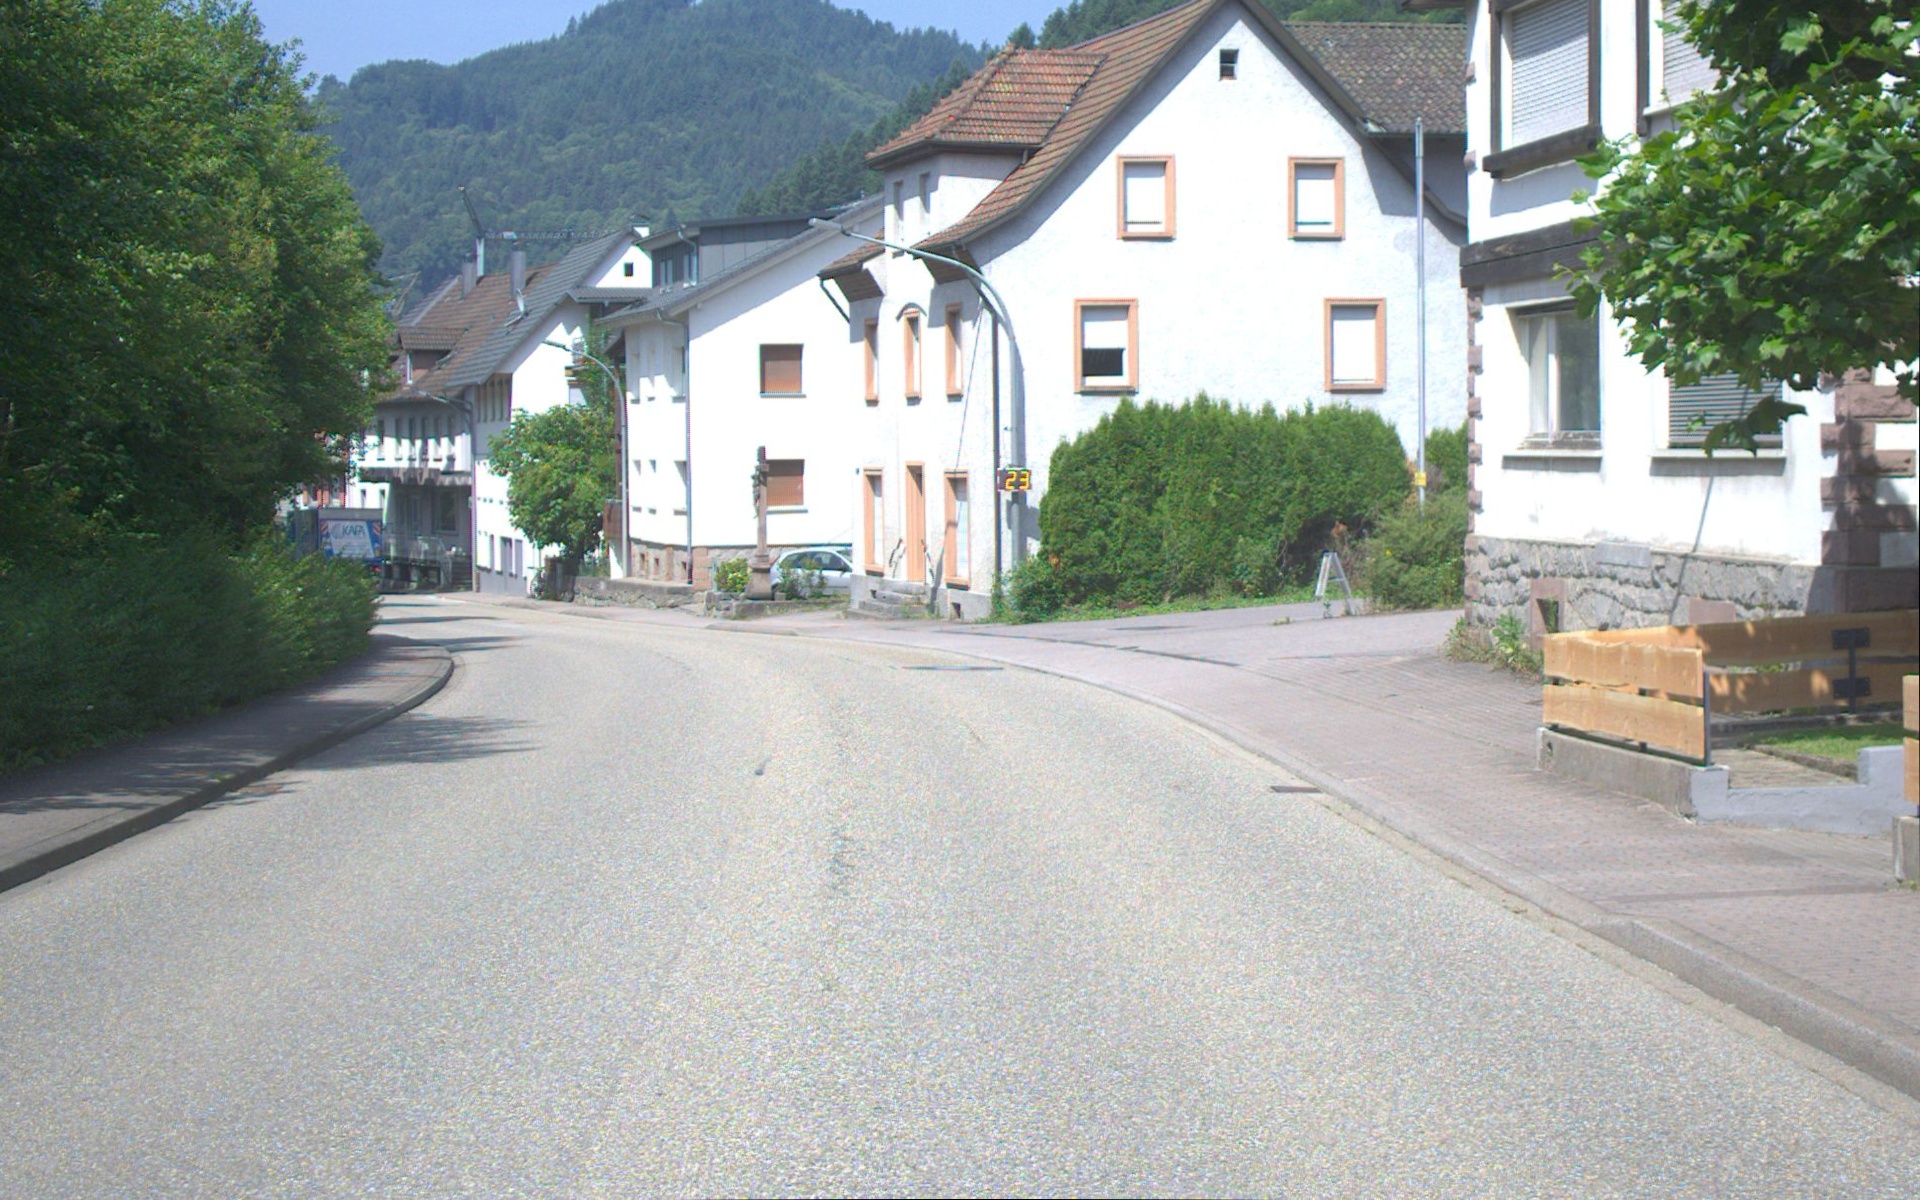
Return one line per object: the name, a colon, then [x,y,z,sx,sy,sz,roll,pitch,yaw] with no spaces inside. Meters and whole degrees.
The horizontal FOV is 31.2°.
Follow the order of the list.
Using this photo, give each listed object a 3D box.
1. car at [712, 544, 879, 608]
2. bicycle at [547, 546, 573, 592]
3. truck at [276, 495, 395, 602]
car: [-4.030,-0.586,84.057,3.770,1.422,1.607,-1,1,31]
bicycle: [-12.577,-0.969,108.066,0.425,1.391,2.277,-5,2,-14]
truck: [-25.142,-2.031,138.113,3.362,3.769,8.442,-5,0,-18]
